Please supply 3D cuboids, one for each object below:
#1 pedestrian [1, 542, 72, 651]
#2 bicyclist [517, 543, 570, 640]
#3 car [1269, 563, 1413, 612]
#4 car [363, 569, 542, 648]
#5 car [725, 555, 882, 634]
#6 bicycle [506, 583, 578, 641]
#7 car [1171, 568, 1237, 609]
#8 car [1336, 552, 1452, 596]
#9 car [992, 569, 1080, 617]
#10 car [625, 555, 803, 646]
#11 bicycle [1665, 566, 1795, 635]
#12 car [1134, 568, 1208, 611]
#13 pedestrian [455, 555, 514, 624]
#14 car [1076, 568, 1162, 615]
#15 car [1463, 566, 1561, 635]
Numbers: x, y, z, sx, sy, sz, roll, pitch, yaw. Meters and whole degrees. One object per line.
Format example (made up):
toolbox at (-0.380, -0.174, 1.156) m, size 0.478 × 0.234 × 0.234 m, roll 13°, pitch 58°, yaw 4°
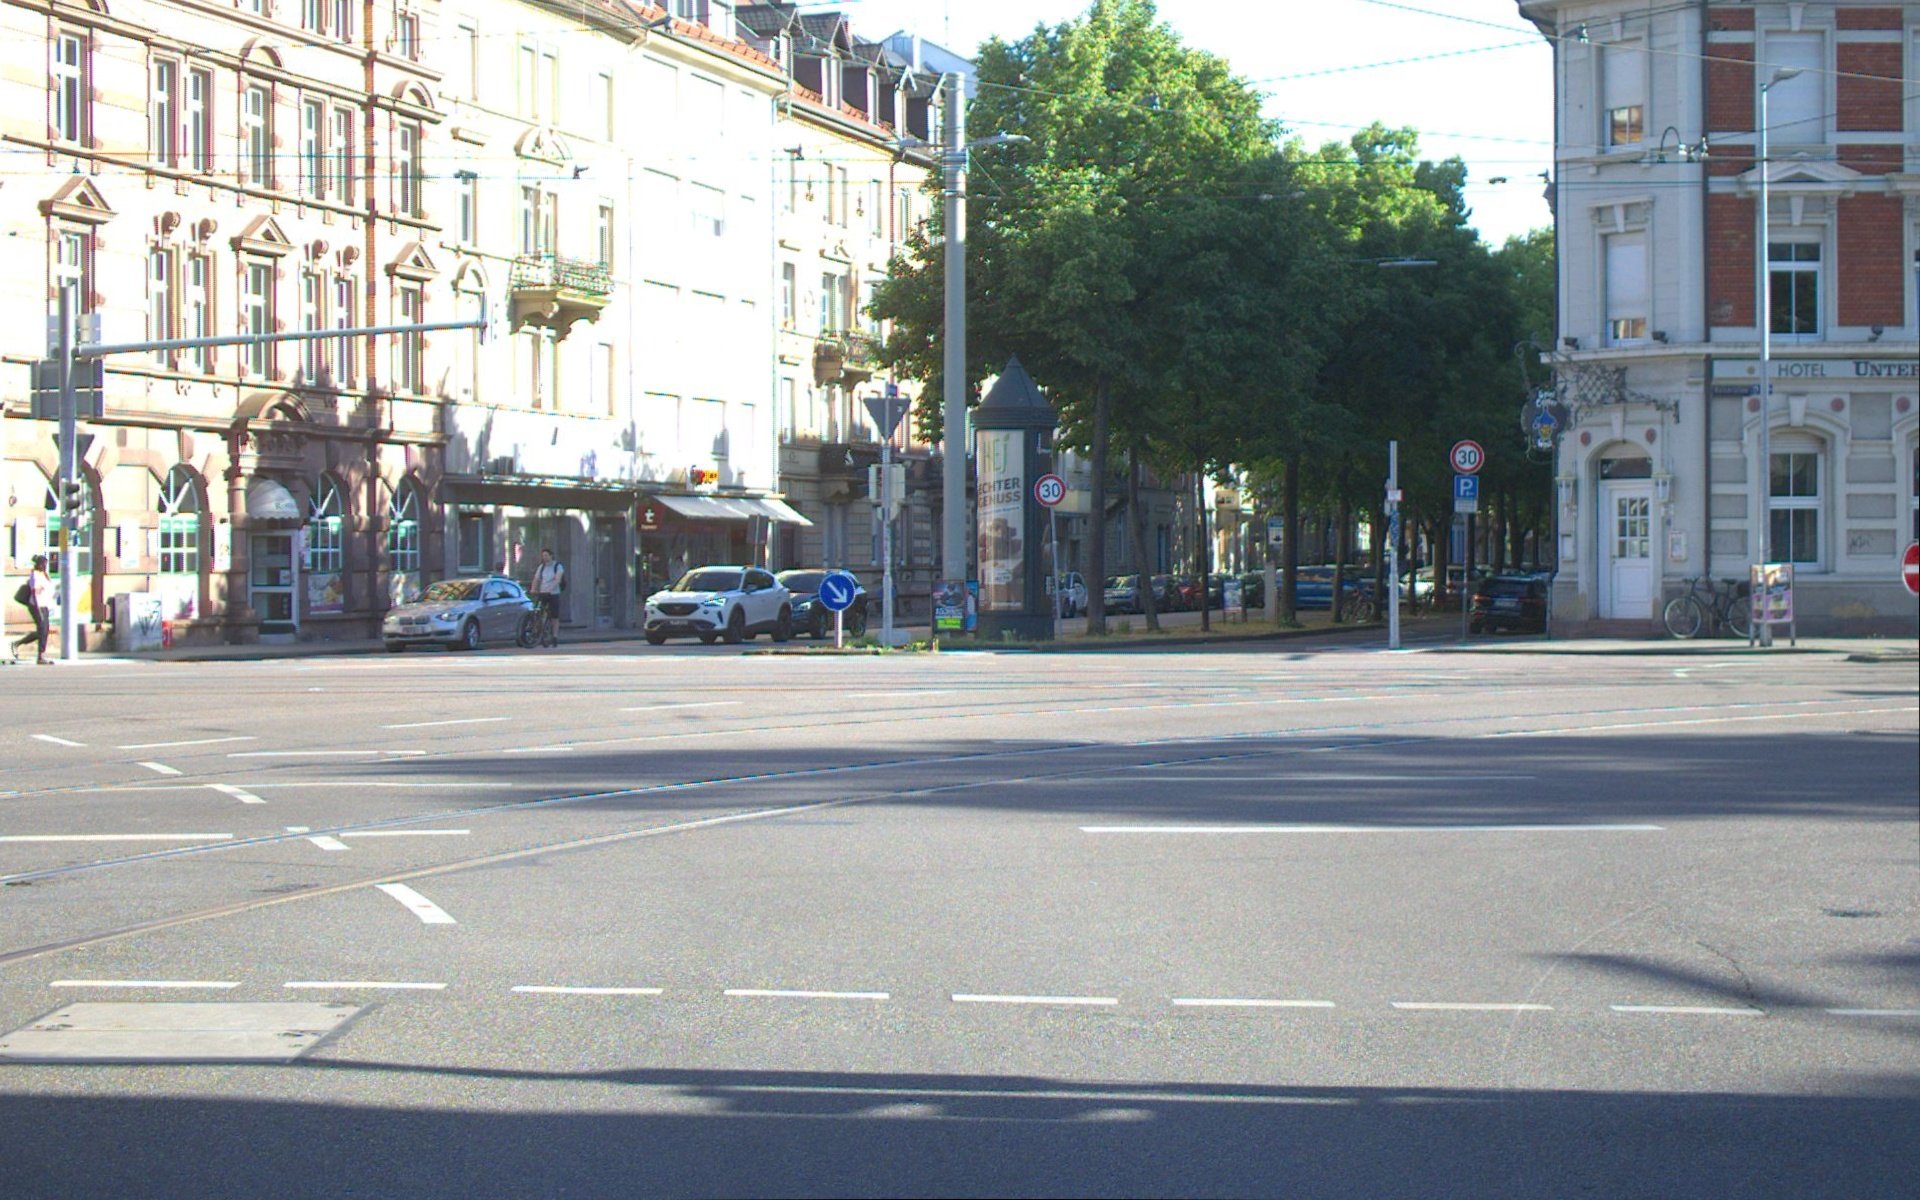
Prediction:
pedestrian at (-14.808, -0.062, 55.119) m, size 1.046 × 1.738 × 0.809 m, roll 0°, pitch 1°, yaw -12°
bicyclist at (-7.881, -0.165, 65.038) m, size 0.679 × 1.814 × 1.070 m, roll 0°, pitch 1°, yaw 12°
car at (12.796, -0.444, 115.347) m, size 4.382 × 1.606 × 1.997 m, roll 0°, pitch 1°, yaw 27°
car at (-9.854, 0.146, 67.041) m, size 1.900 × 1.450 × 3.997 m, roll 0°, pitch 1°, yaw 17°
car at (-3.321, -0.137, 73.829) m, size 1.995 × 1.606 × 4.387 m, roll 0°, pitch 1°, yaw 17°
bicycle at (-7.891, 0.215, 65.002) m, size 0.680 × 1.062 × 2.124 m, roll 0°, pitch 1°, yaw 12°
car at (9.696, -0.470, 136.322) m, size 1.766 × 1.544 × 4.387 m, roll 0°, pitch 1°, yaw 16°
car at (16.858, -1.014, 133.615) m, size 3.993 × 1.700 × 1.997 m, roll 0°, pitch 1°, yaw 30°
car at (2.483, -0.225, 110.954) m, size 1.995 × 1.481 × 3.998 m, roll 0°, pitch 1°, yaw 14°
car at (-4.766, -0.019, 67.316) m, size 1.995 × 1.678 × 4.387 m, roll 0°, pitch 1°, yaw 17°
bicycle at (12.855, 0.014, 57.381) m, size 2.085 × 1.120 × 0.367 m, roll 1°, pitch 0°, yaw -4°
car at (8.029, -0.421, 130.445) m, size 1.839 × 1.547 × 4.387 m, roll 0°, pitch 1°, yaw 17°
pedestrian at (-10.583, -0.241, 76.552) m, size 0.929 × 1.530 × 1.136 m, roll 0°, pitch 1°, yaw 14°
car at (5.703, -0.301, 122.656) m, size 1.995 × 1.606 × 4.387 m, roll 0°, pitch 1°, yaw 17°
car at (13.266, -0.009, 82.432) m, size 1.995 × 1.579 × 3.998 m, roll 0°, pitch 1°, yaw 14°
